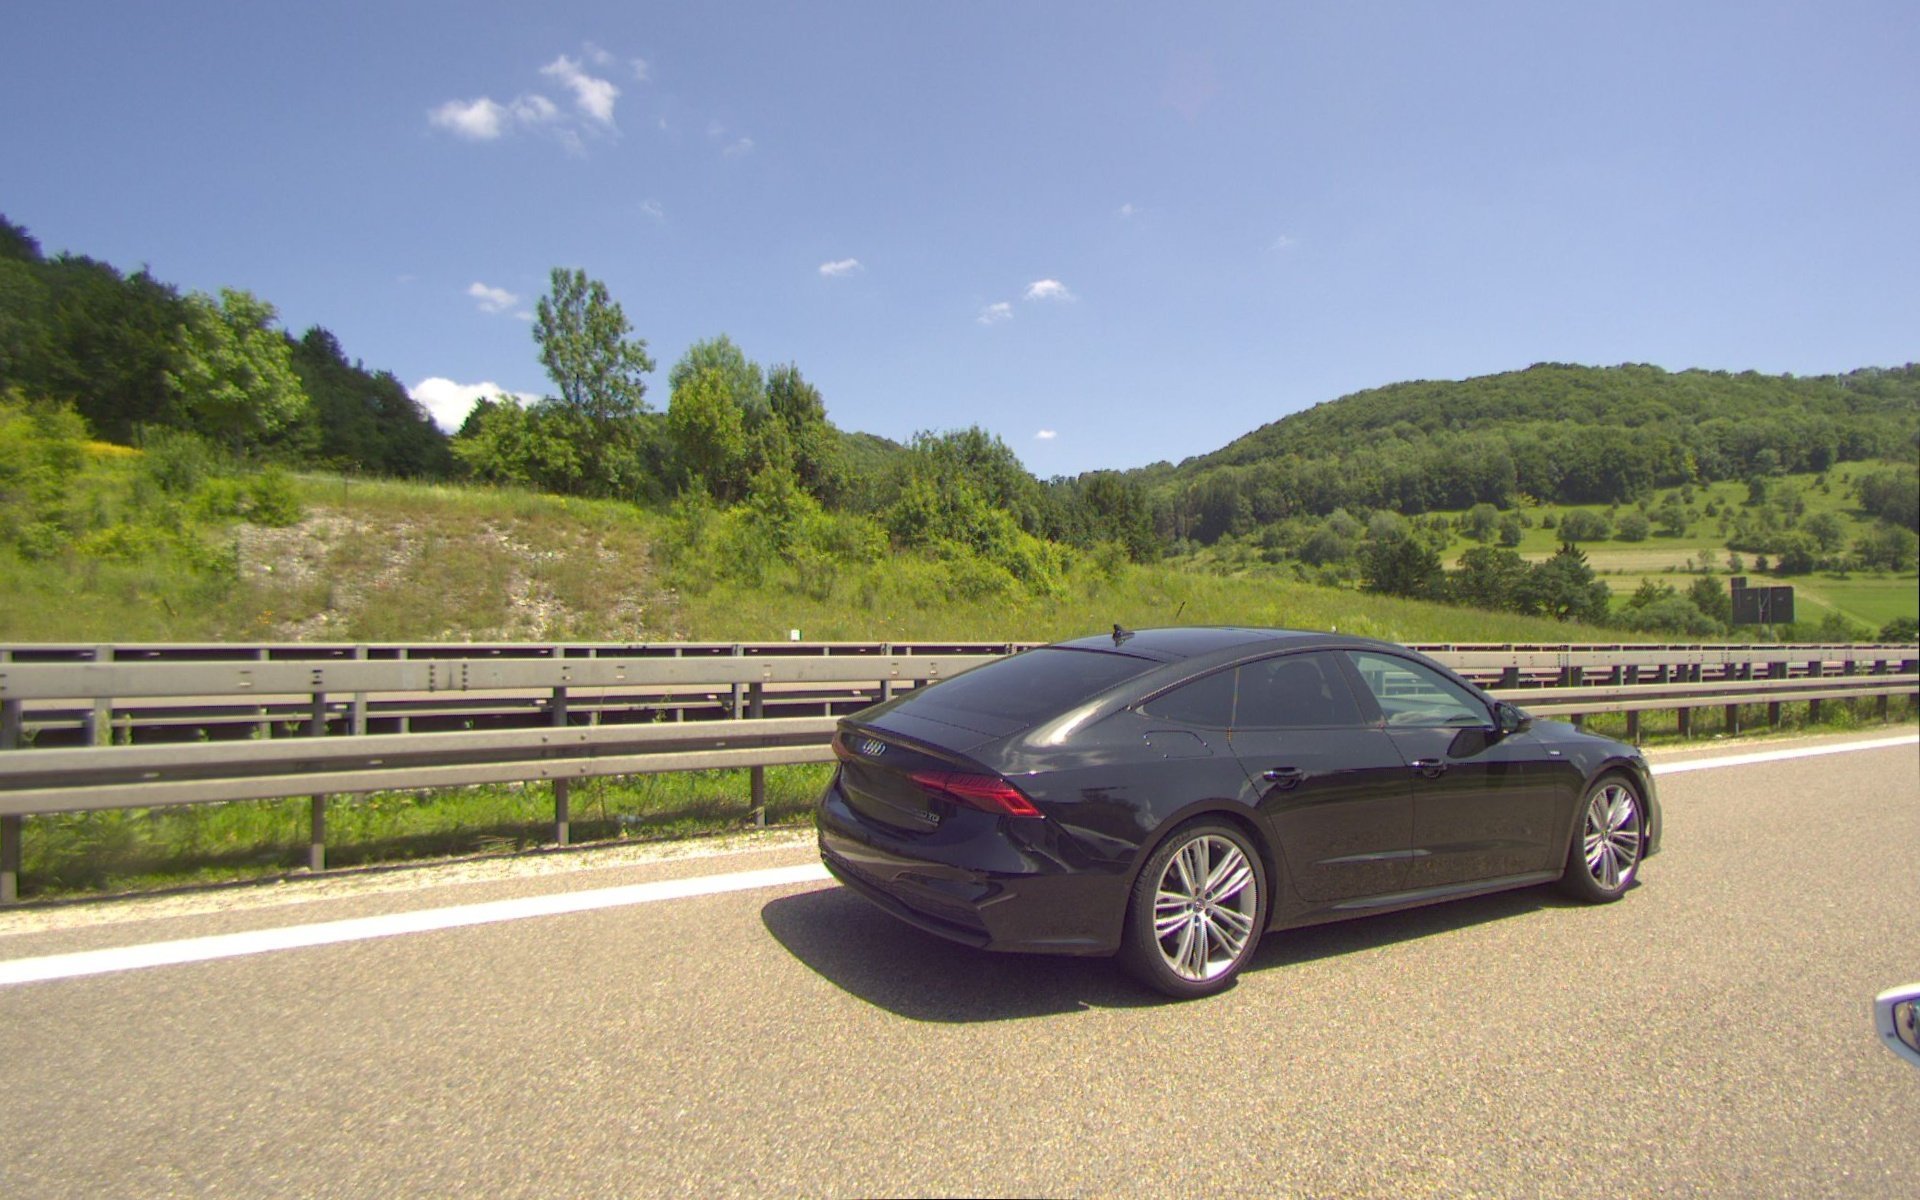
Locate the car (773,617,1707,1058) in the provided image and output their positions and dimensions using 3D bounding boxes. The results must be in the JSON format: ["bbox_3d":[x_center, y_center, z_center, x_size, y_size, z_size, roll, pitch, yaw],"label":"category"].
[{"bbox_3d":[1.671,0.828,5.252,4.910,1.409,1.792,1,-1,-30],"label":"car"}]
